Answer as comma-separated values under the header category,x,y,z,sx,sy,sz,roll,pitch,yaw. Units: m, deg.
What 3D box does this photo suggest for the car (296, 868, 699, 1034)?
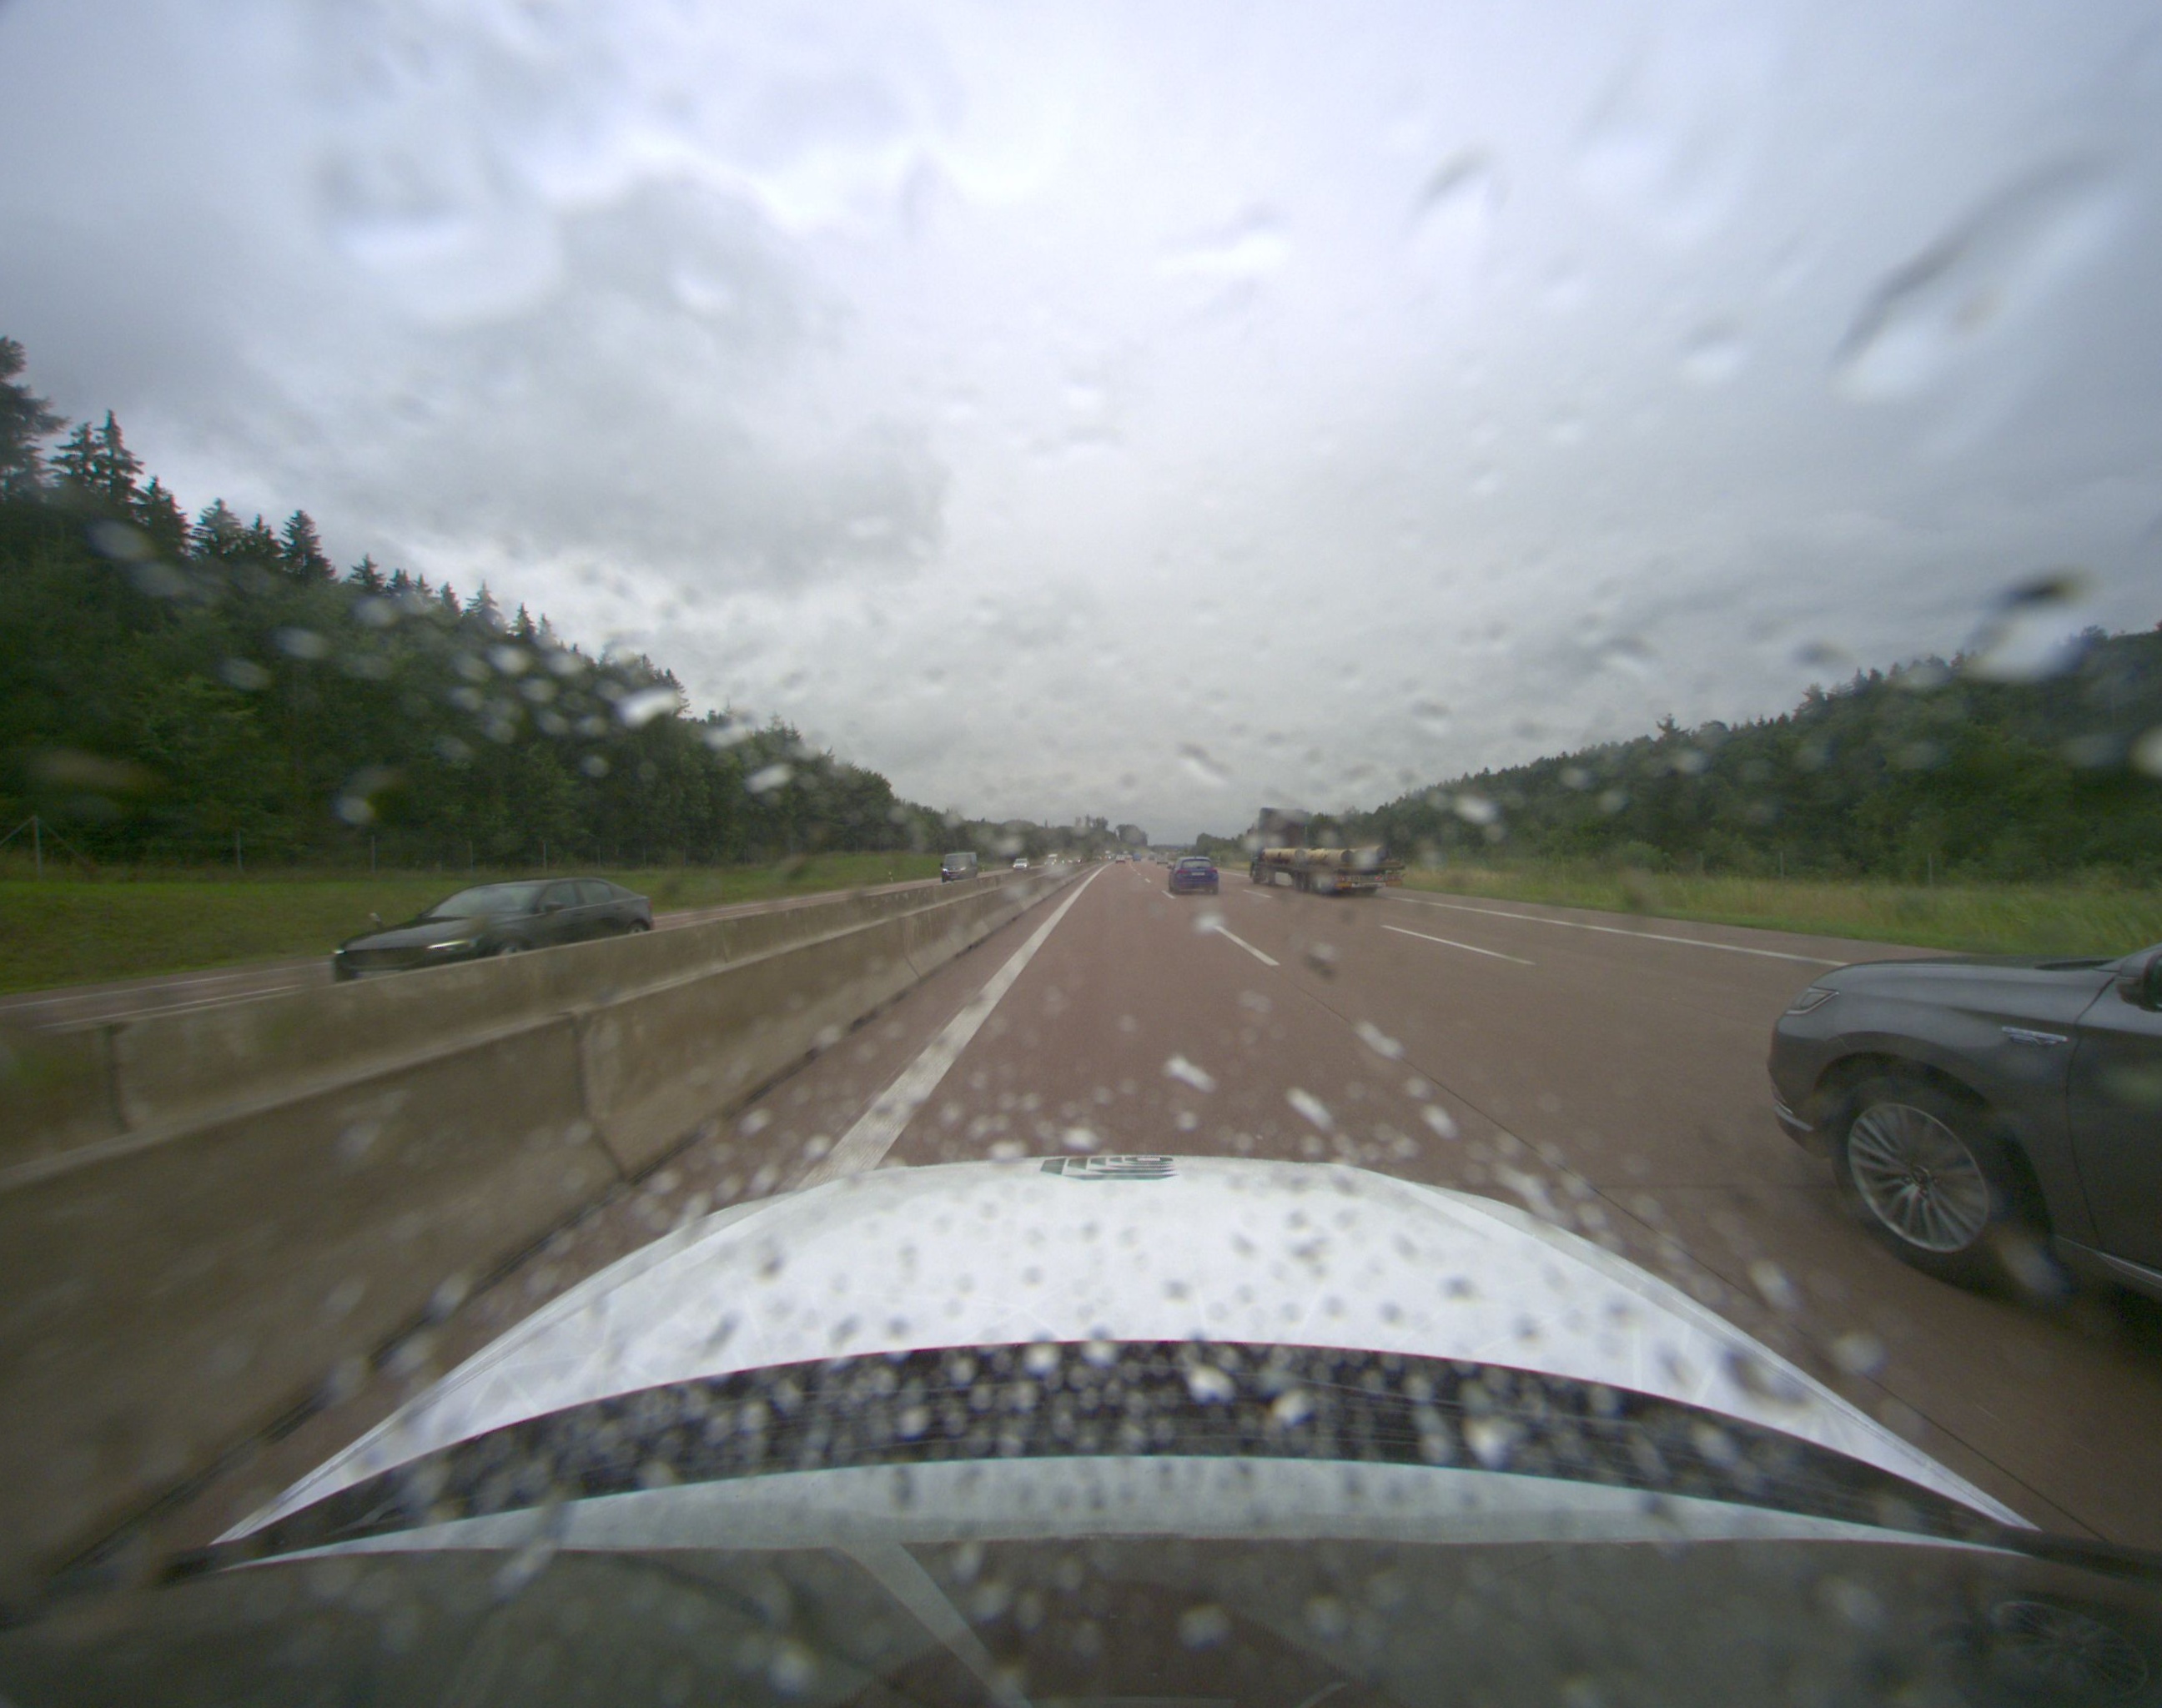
category,x,y,z,sx,sy,sz,roll,pitch,yaw
car,-7.814,1.142,11.819,1.769,1.856,5.324,0,-1,3

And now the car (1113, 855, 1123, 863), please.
category,x,y,z,sx,sy,sz,roll,pitch,yaw
car,7.129,0.986,157.007,1.868,1.444,4.875,0,-1,0

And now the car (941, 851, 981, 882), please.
category,x,y,z,sx,sy,sz,roll,pitch,yaw
car,-9.056,0.969,61.995,2.095,2.279,5.396,0,-1,1

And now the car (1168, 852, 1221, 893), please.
category,x,y,z,sx,sy,sz,roll,pitch,yaw
car,4.539,0.739,33.039,1.764,1.564,4.148,0,-1,2

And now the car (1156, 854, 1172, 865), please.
category,x,y,z,sx,sy,sz,roll,pitch,yaw
car,13.783,0.971,135.980,2.313,1.750,4.879,0,-1,2

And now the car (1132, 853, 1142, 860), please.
category,x,y,z,sx,sy,sz,roll,pitch,yaw
car,13.896,0.659,201.361,2.313,1.750,4.879,0,-1,2

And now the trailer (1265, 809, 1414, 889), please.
category,x,y,z,sx,sy,sz,roll,pitch,yaw
trailer,10.025,-0.042,33.237,2.870,2.676,11.403,0,-1,2

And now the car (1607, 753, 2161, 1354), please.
category,x,y,z,sx,sy,sz,roll,pitch,yaw
car,3.842,0.515,1.582,1.986,1.593,5.821,0,-1,1

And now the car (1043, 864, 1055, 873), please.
category,x,y,z,sx,sy,sz,roll,pitch,yaw
car,-5.729,2.535,146.387,1.643,1.389,4.812,-4,0,2

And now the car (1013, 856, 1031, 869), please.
category,x,y,z,sx,sy,sz,roll,pitch,yaw
car,-7.569,1.103,104.813,1.782,1.557,4.868,-3,0,2

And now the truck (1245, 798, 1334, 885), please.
category,x,y,z,sx,sy,sz,roll,pitch,yaw
truck,10.321,-0.500,41.035,2.886,3.965,6.991,0,-1,2

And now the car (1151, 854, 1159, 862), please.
category,x,y,z,sx,sy,sz,roll,pitch,yaw
car,20.031,1.062,221.737,1.986,2.014,4.001,0,-1,2
